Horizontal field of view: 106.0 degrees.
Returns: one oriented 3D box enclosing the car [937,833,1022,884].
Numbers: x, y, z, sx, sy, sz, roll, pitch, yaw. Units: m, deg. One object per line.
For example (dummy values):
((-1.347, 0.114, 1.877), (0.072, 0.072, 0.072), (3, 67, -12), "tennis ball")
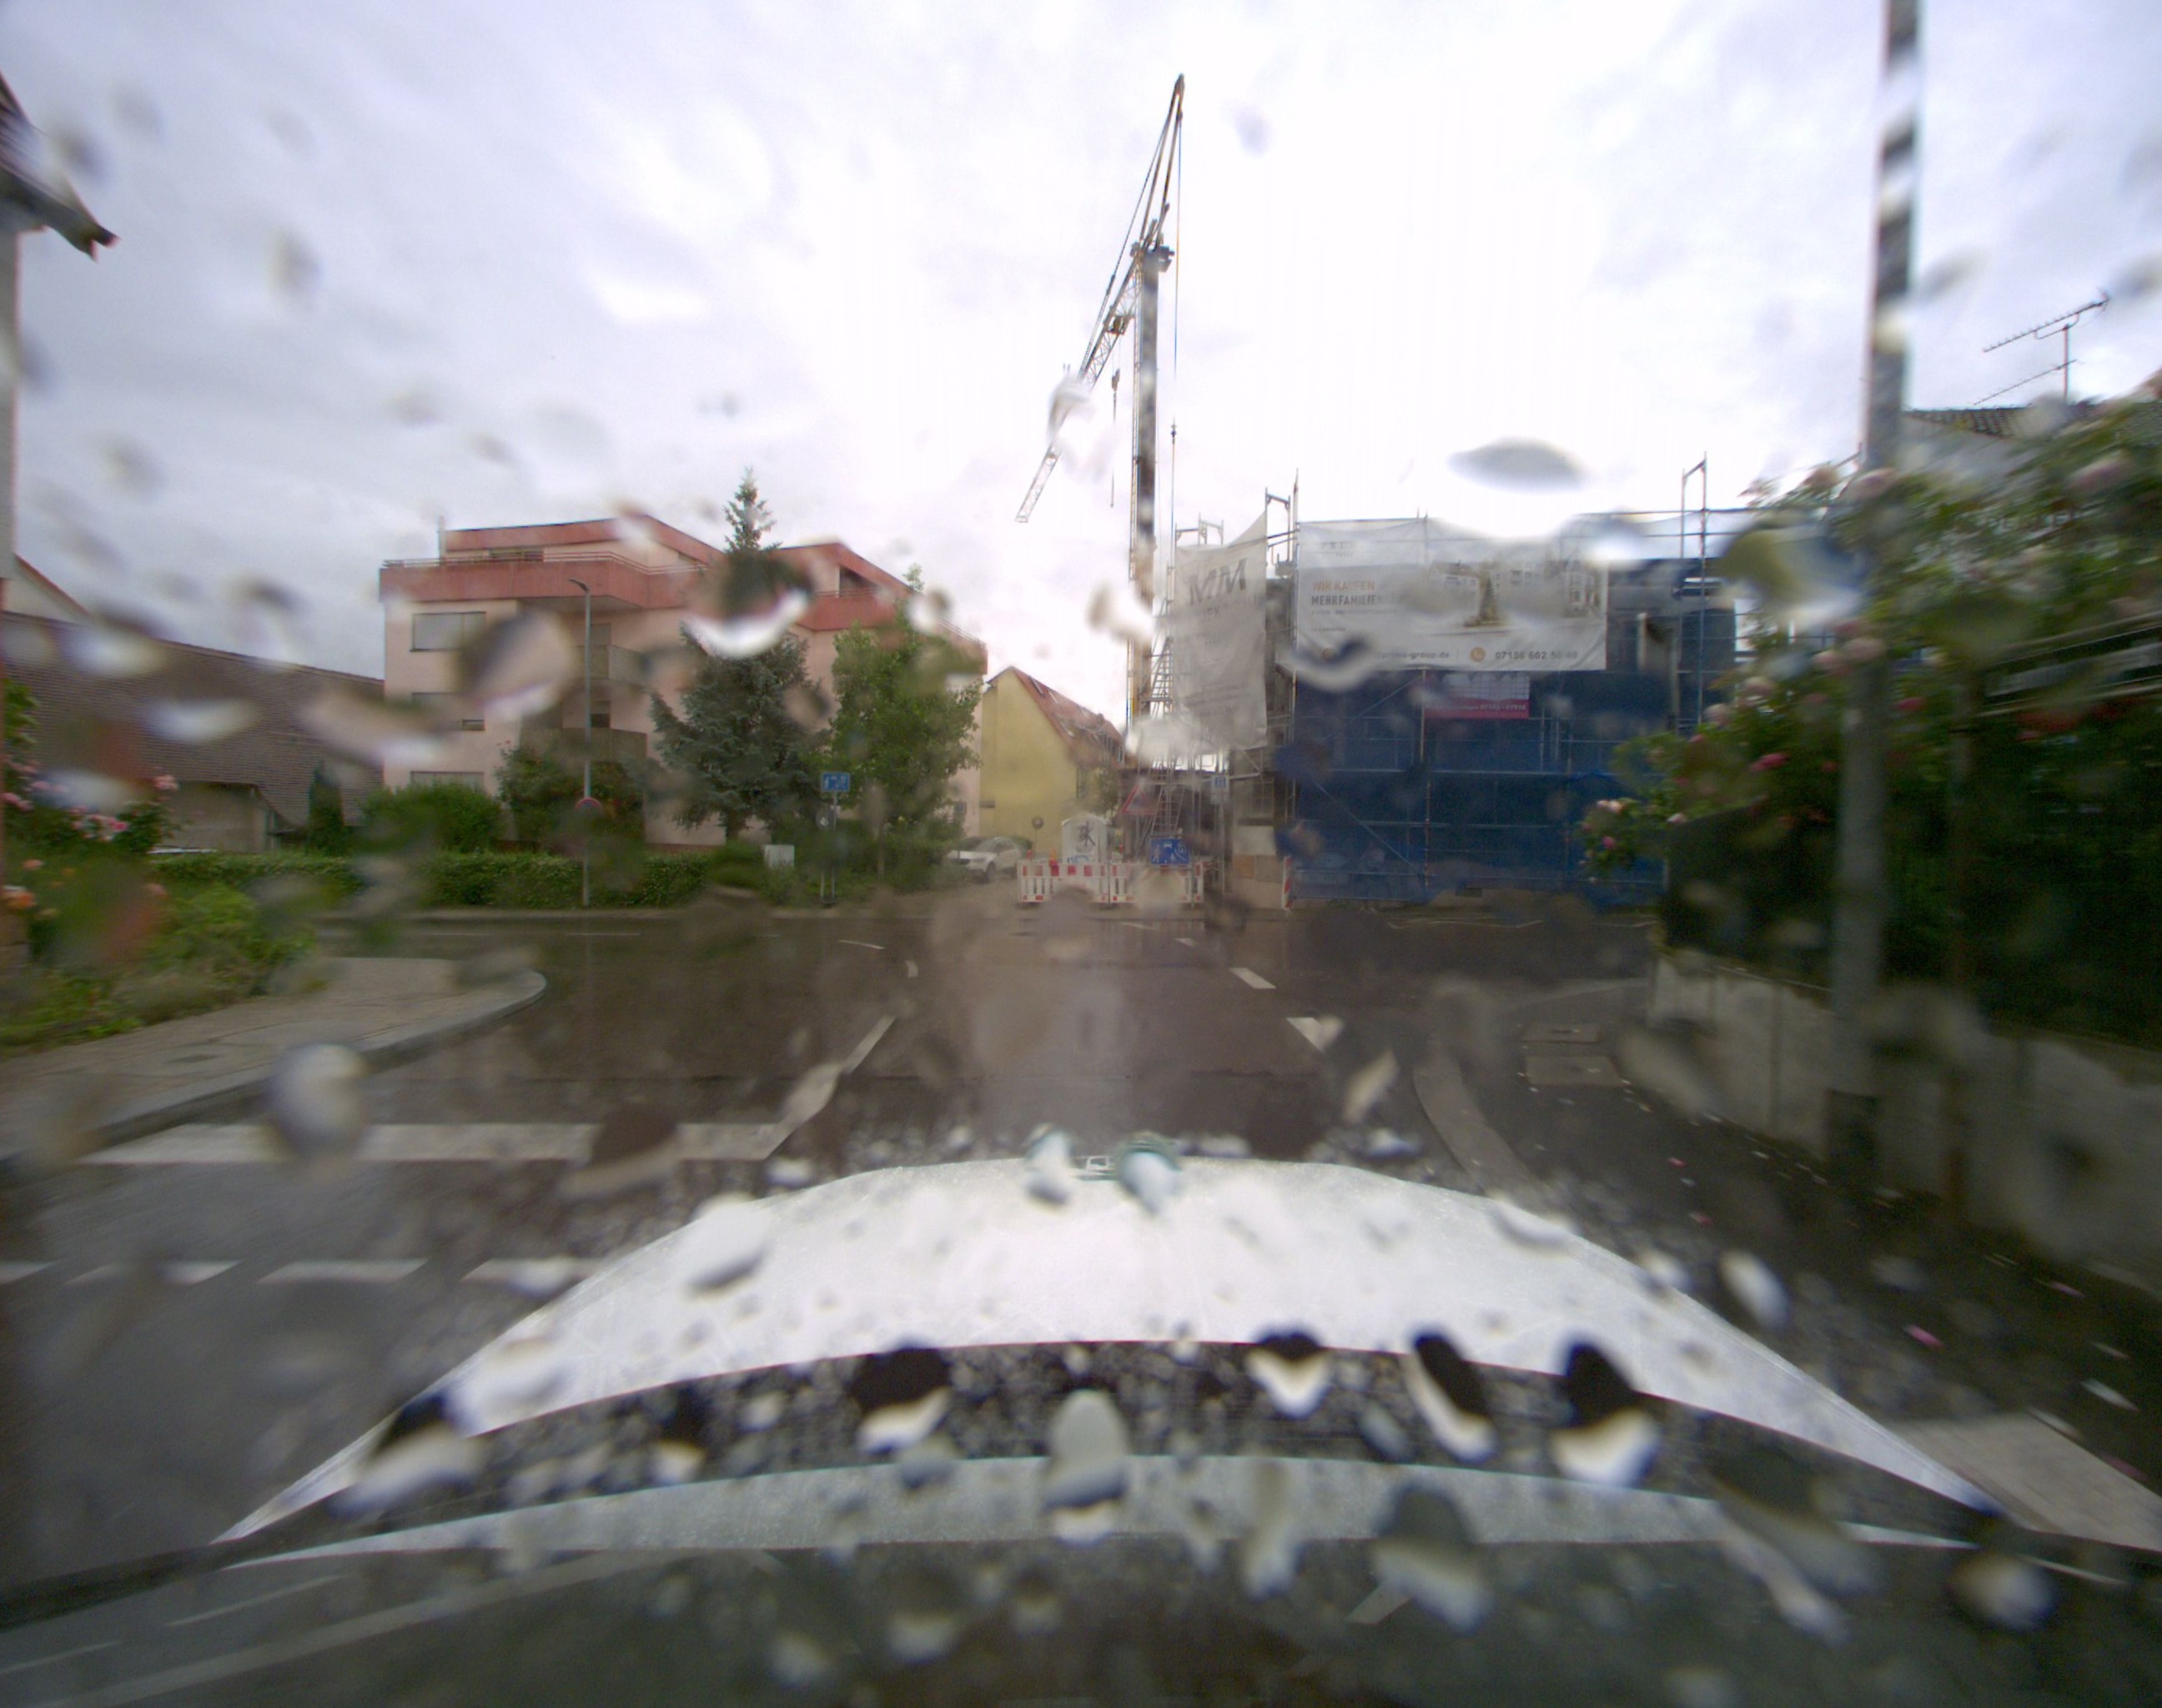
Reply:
((-3.614, 0.114, 29.756), (1.588, 1.677, 3.956), (2, 2, 16), "car")
